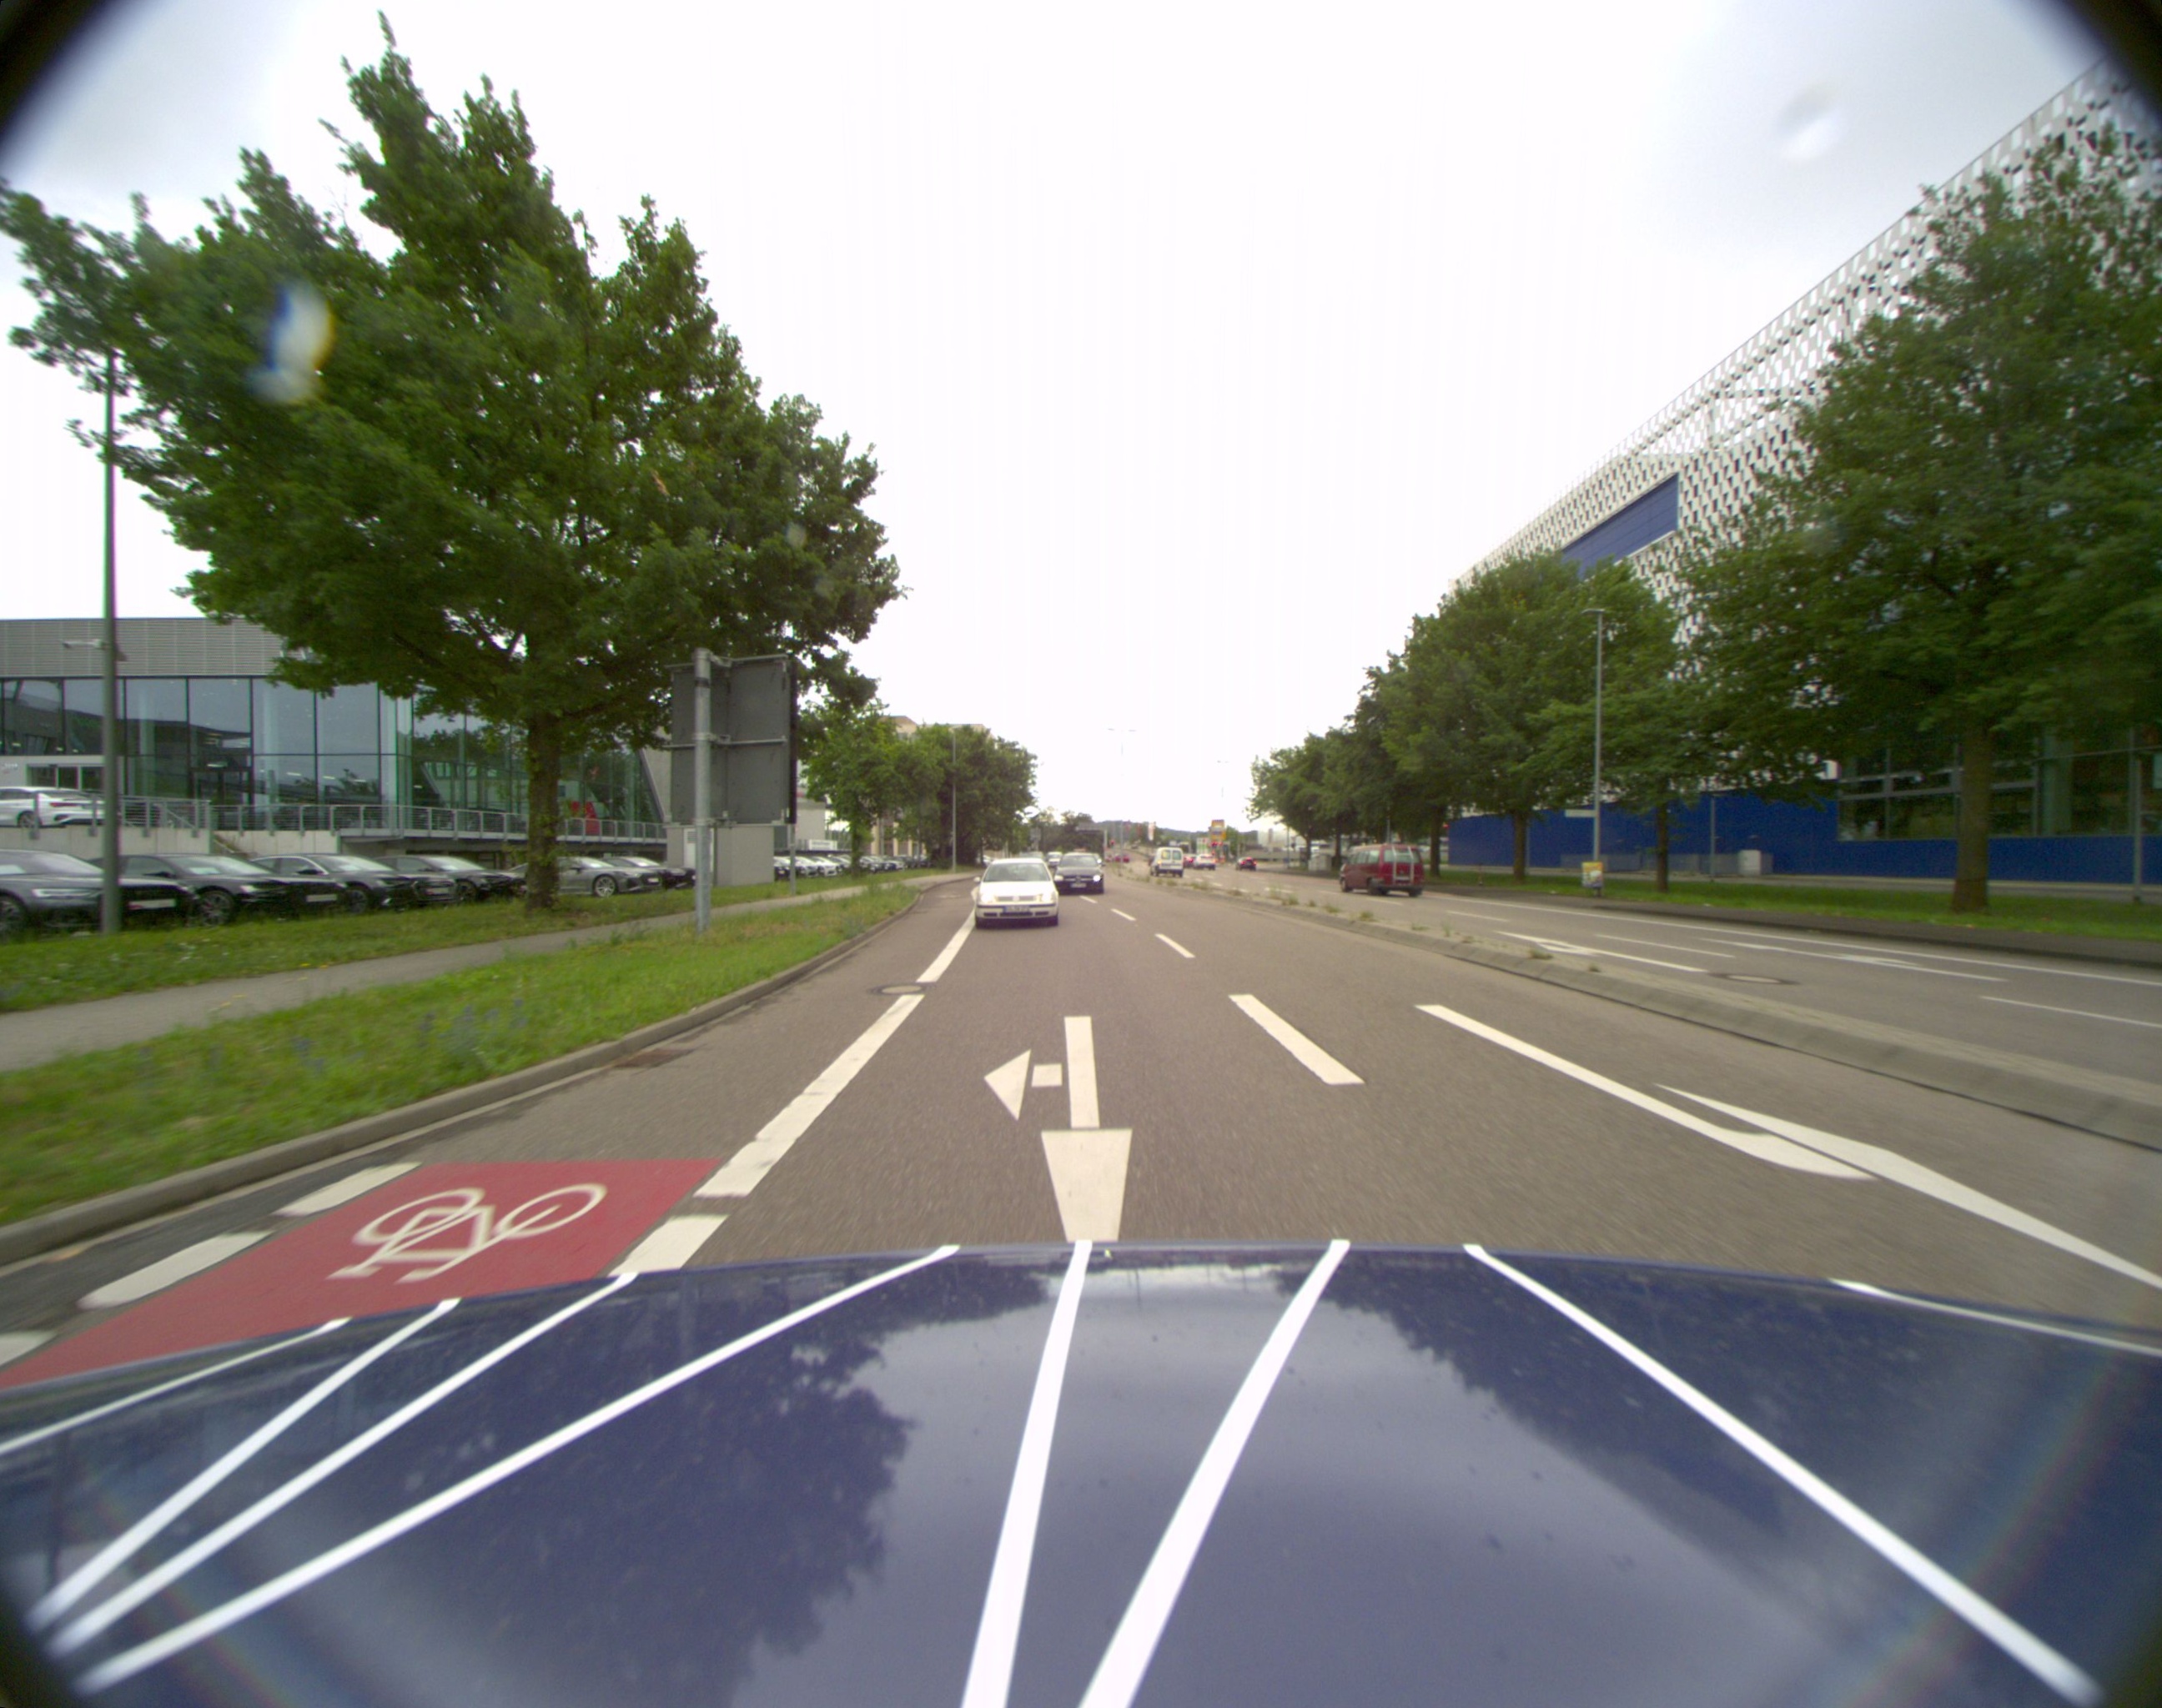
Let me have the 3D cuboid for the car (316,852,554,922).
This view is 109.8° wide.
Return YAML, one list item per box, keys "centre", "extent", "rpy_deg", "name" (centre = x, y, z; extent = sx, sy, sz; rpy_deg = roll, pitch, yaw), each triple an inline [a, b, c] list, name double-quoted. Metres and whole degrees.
- centre: [-15.920, 0.782, 18.889]
  extent: [4.308, 1.436, 1.844]
  rpy_deg: [-3, 0, 2]
  name: "car"

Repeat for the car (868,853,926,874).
- centre: [-14.340, 0.734, 59.401]
  extent: [4.040, 1.384, 1.727]
  rpy_deg: [-3, 0, 2]
  name: "car"

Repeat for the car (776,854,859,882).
- centre: [-15.037, 0.775, 43.439]
  extent: [4.040, 1.384, 1.727]
  rpy_deg: [-3, 0, 2]
  name: "car"

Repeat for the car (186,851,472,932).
- centre: [-16.031, 0.764, 16.358]
  extent: [4.308, 1.436, 1.844]
  rpy_deg: [-3, 0, 2]
  name: "car"

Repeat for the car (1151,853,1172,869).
- centre: [9.192, 0.782, 87.414]
  extent: [1.651, 1.788, 3.979]
  rpy_deg: [2, 0, -4]
  name: "car"

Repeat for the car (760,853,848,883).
- centre: [-14.917, 0.764, 41.093]
  extent: [4.040, 1.384, 1.727]
  rpy_deg: [-3, 0, 2]
  name: "car"

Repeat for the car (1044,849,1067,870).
- centre: [-2.295, 0.480, 69.408]
  extent: [1.995, 1.838, 4.103]
  rpy_deg: [0, 0, -1]
  name: "car"

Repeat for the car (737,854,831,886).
- centre: [-15.031, 0.778, 38.564]
  extent: [4.040, 1.384, 1.727]
  rpy_deg: [-3, 0, 2]
  name: "car"

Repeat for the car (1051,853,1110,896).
- centre: [-0.087, 0.707, 27.837]
  extent: [1.837, 1.416, 3.998]
  rpy_deg: [-1, 0, -4]
  name: "car"

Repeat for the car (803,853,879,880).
- centre: [-14.591, 0.741, 46.343]
  extent: [4.040, 1.384, 1.727]
  rpy_deg: [-3, 0, 2]
  name: "car"

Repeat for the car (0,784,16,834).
- centre: [-32.415, -1.168, 20.631]
  extent: [4.308, 1.355, 1.832]
  rpy_deg: [-3, 0, 0]
  name: "car"

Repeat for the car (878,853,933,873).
- centre: [-14.297, 0.722, 62.025]
  extent: [4.040, 1.384, 1.727]
  rpy_deg: [-3, 0, 2]
  name: "car"

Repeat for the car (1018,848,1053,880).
- centre: [-2.484, 0.524, 41.230]
  extent: [1.788, 1.637, 3.998]
  rpy_deg: [0, 0, -4]
  name: "car"

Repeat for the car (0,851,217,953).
- centre: [-15.951, 0.744, 11.268]
  extent: [4.308, 1.350, 1.739]
  rpy_deg: [-3, 0, 2]
  name: "car"

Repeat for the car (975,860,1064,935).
- centre: [-1.370, 0.880, 17.130]
  extent: [1.727, 1.416, 3.939]
  rpy_deg: [-1, 0, -4]
  name: "car"

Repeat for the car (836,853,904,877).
- centre: [-14.351, 0.734, 51.763]
  extent: [4.040, 1.384, 1.727]
  rpy_deg: [-3, 0, 2]
  name: "car"

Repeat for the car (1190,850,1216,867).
- centre: [12.487, 0.460, 77.793]
  extent: [1.728, 1.602, 3.979]
  rpy_deg: [2, 0, -4]
  name: "car"

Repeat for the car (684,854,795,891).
- centre: [-15.096, 0.788, 33.725]
  extent: [4.040, 1.384, 1.727]
  rpy_deg: [-3, 0, 2]
  name: "car"

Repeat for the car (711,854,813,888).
- centre: [-15.113, 0.789, 36.147]
  extent: [4.040, 1.384, 1.727]
  rpy_deg: [-3, 0, 2]
  name: "car"

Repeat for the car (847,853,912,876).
- centre: [-14.271, 0.735, 53.955]
  extent: [4.040, 1.384, 1.727]
  rpy_deg: [-3, 0, 2]
  name: "car"

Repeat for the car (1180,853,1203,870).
- centre: [12.162, 0.771, 83.910]
  extent: [1.651, 1.788, 3.979]
  rpy_deg: [2, 0, -4]
  name: "car"

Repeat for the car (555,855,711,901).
- centre: [-15.553, 0.815, 26.548]
  extent: [4.308, 1.309, 1.864]
  rpy_deg: [-3, 0, 2]
  name: "car"

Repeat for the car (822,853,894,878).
- centre: [-14.351, 0.730, 49.082]
  extent: [4.040, 1.384, 1.727]
  rpy_deg: [-3, 0, 2]
  name: "car"

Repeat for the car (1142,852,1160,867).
- centre: [8.899, 0.679, 96.640]
  extent: [1.651, 1.788, 3.979]
  rpy_deg: [2, 0, -4]
  name: "car"

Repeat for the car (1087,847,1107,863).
- centre: [1.568, 0.096, 73.069]
  extent: [1.836, 1.416, 4.000]
  rpy_deg: [-1, 0, 2]
  name: "car"

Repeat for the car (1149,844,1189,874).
- centre: [5.417, 0.295, 47.070]
  extent: [1.651, 1.788, 3.979]
  rpy_deg: [1, 0, -5]
  name: "car"

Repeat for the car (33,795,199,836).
- centre: [-38.962, -1.522, 30.754]
  extent: [4.308, 1.355, 1.832]
  rpy_deg: [-3, 0, 0]
  name: "car"

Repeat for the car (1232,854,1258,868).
- centre: [17.784, 0.735, 82.481]
  extent: [1.651, 1.382, 3.979]
  rpy_deg: [2, 0, -4]
  name: "car"

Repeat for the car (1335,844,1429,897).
- centre: [11.704, 0.595, 29.901]
  extent: [1.771, 1.913, 4.909]
  rpy_deg: [1, 0, 1]
  name: "car"

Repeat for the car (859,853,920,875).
- centre: [-14.206, 0.716, 56.537]
  extent: [4.040, 1.384, 1.727]
  rpy_deg: [-3, 0, 2]
  name: "car"

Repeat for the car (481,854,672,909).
- centre: [-15.901, 0.849, 24.108]
  extent: [4.763, 1.416, 1.902]
  rpy_deg: [-3, 0, 2]
  name: "car"

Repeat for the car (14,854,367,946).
- centre: [-16.099, 0.790, 13.910]
  extent: [4.308, 1.370, 1.838]
  rpy_deg: [-3, 0, 2]
  name: "car"

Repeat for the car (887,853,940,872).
- centre: [-14.273, 0.716, 64.860]
  extent: [4.040, 1.384, 1.727]
  rpy_deg: [-3, 0, 2]
  name: "car"

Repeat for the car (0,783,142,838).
- centre: [-32.270, -1.299, 23.405]
  extent: [4.308, 1.355, 1.832]
  rpy_deg: [-3, 0, 0]
  name: "car"
